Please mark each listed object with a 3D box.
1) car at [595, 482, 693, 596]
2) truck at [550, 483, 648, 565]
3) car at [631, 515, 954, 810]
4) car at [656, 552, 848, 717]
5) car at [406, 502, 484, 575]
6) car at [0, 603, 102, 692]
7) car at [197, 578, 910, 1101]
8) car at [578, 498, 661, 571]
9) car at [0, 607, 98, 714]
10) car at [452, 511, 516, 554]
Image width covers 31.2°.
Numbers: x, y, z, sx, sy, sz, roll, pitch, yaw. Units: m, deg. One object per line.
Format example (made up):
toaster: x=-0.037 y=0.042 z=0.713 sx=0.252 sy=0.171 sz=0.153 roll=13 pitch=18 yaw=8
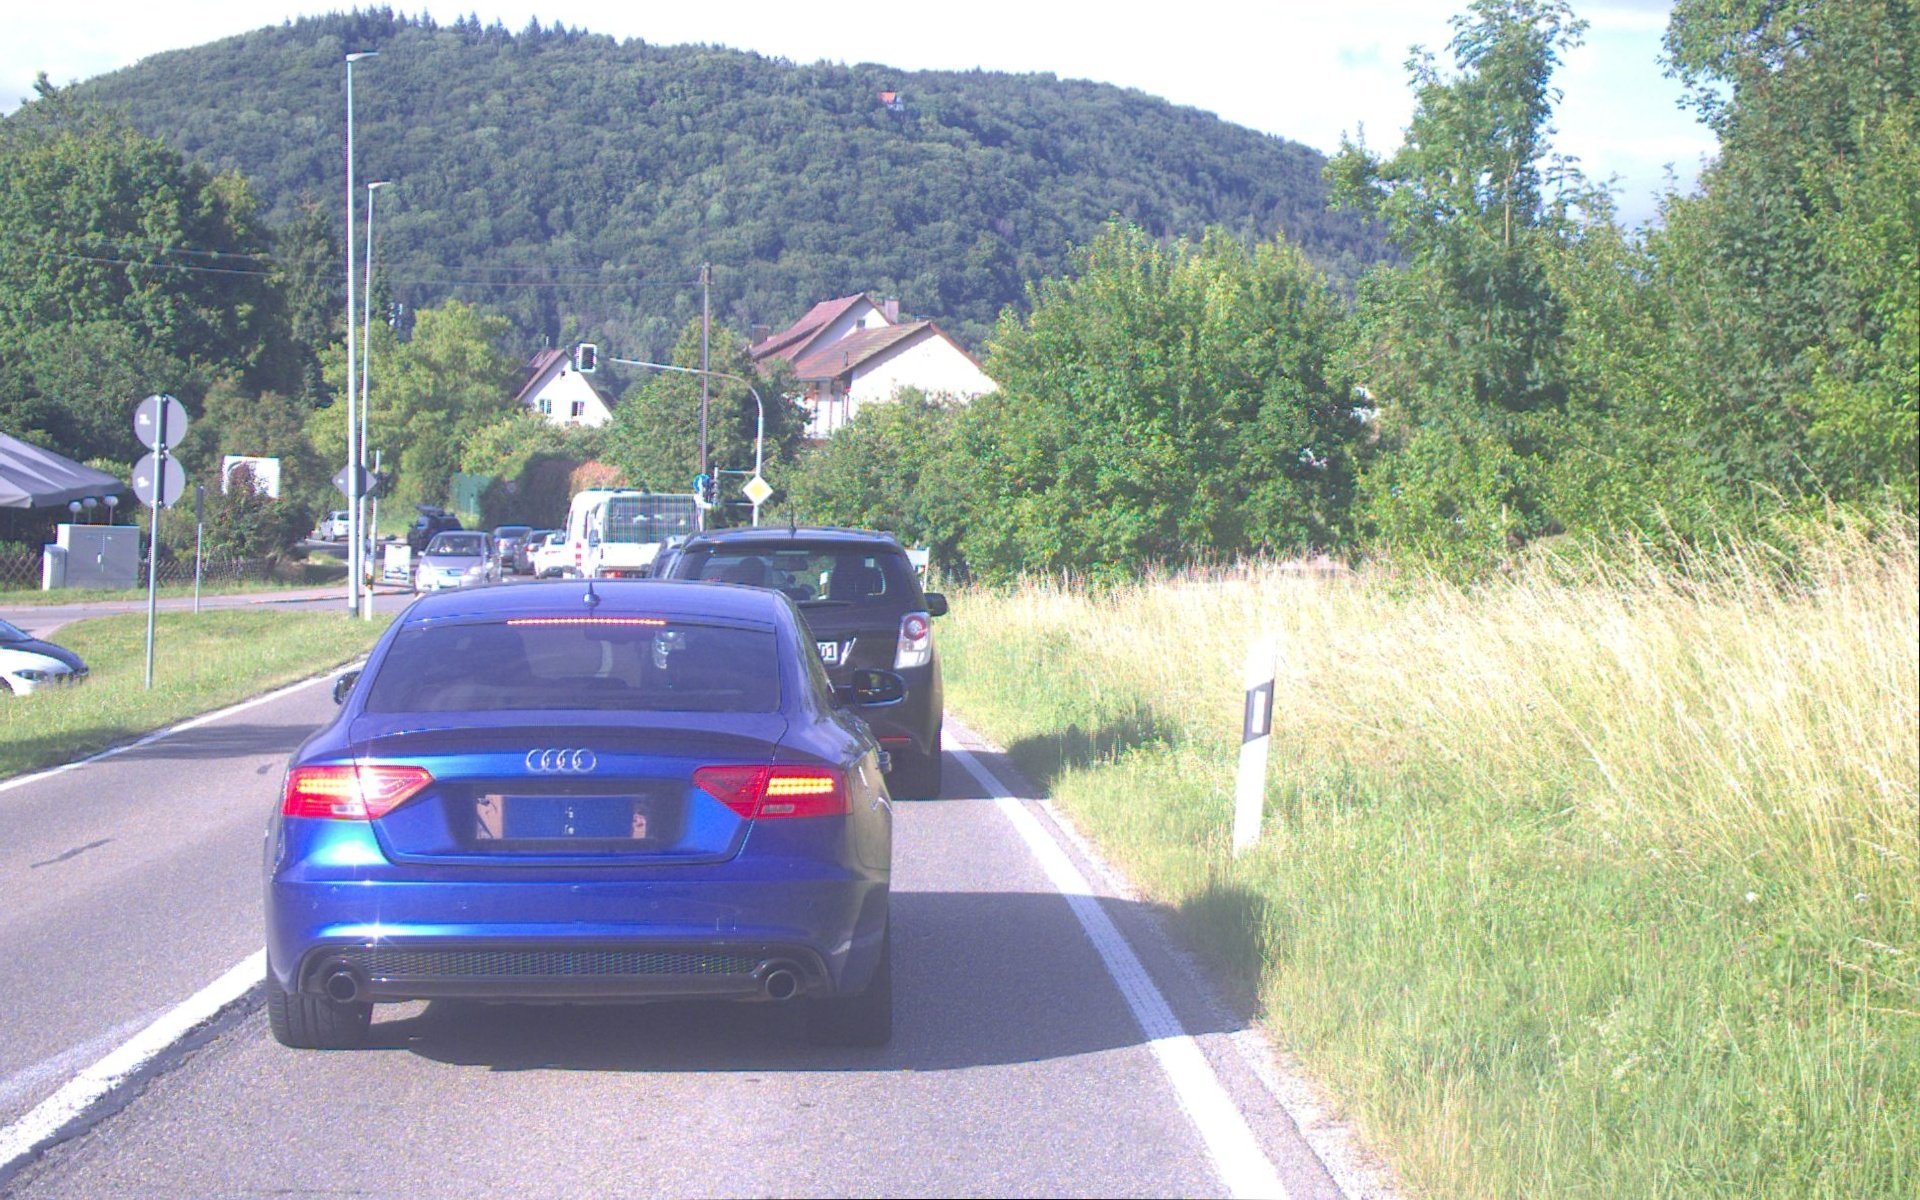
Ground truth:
car: x=-6.341 y=-1.201 z=68.758 sx=1.746 sy=2.188 sz=4.001 roll=1 pitch=0 yaw=-8
truck: x=-9.027 y=-1.854 z=85.502 sx=1.697 sy=1.947 sz=5.924 roll=1 pitch=0 yaw=-13
car: x=-0.946 y=0.338 z=21.377 sx=1.746 sy=1.634 sz=4.000 roll=1 pitch=0 yaw=1
car: x=-2.180 y=0.333 z=37.071 sx=1.804 sy=1.634 sz=4.463 roll=1 pitch=0 yaw=0
car: x=-12.048 y=-1.421 z=80.584 sx=1.734 sy=1.656 sz=3.472 roll=1 pitch=0 yaw=-8
car: x=-15.451 y=0.698 z=52.926 sx=3.987 sy=1.306 sz=1.760 roll=1 pitch=0 yaw=4
car: x=-1.109 y=0.622 z=11.132 sx=1.795 sy=1.383 sz=4.000 roll=0 pitch=0 yaw=1
car: x=-7.974 y=-1.503 z=80.341 sx=1.746 sy=1.634 sz=4.001 roll=1 pitch=0 yaw=-8
car: x=-15.350 y=0.841 z=50.553 sx=4.815 sy=1.488 sz=1.880 roll=1 pitch=0 yaw=8
car: x=-16.797 y=-2.365 z=121.184 sx=1.697 sy=1.485 sz=3.528 roll=1 pitch=0 yaw=-16
